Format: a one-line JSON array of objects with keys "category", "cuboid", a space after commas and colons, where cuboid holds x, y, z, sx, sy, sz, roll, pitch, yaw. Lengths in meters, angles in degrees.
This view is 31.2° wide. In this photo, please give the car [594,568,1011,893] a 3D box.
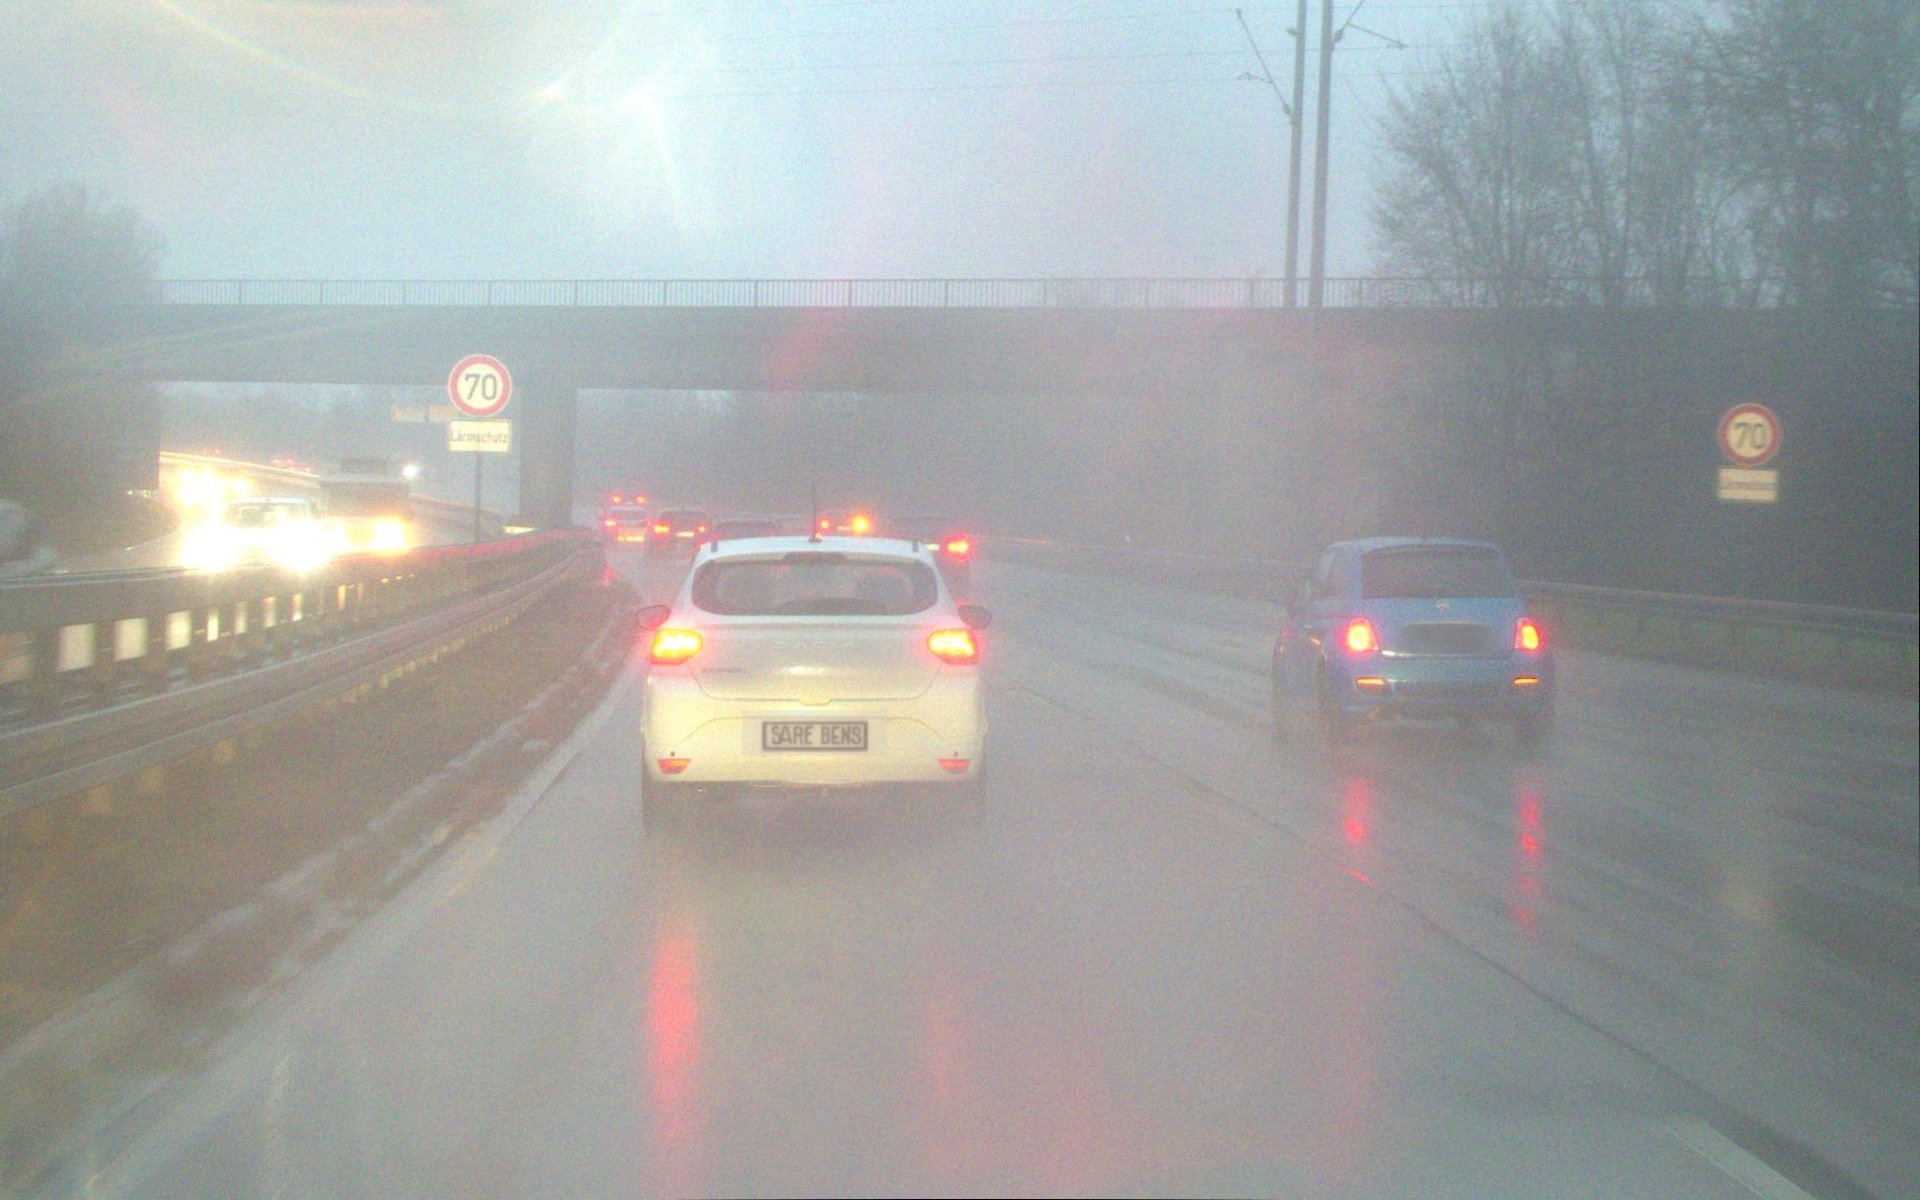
[{"category": "car", "cuboid": [-0.916, 0.635, 19.021, 2.024, 1.569, 4.001, 1, 0, -4]}]

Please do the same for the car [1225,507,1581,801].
[{"category": "car", "cuboid": [3.247, 0.369, 25.919, 1.932, 2.012, 3.774, 1, 0, -4]}]

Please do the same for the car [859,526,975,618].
[{"category": "car", "cuboid": [-0.875, -0.524, 67.407, 1.932, 1.541, 3.774, -4, -1, -5]}]

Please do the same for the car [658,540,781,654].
[{"category": "car", "cuboid": [-4.509, -0.069, 64.008, 1.993, 2.007, 4.001, 1, 0, -7]}]

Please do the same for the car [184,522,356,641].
[{"category": "car", "cuboid": [-11.348, -0.307, 56.837, 1.987, 1.824, 5.119, 1, 0, -3]}]

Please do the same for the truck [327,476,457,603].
[{"category": "truck", "cuboid": [-14.951, -1.550, 90.956, 2.714, 3.150, 7.730, 1, 0, -5]}]

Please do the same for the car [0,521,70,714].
[{"category": "car", "cuboid": [-9.284, 0.127, 30.699, 1.766, 1.678, 4.000, 1, 0, -3]}]
